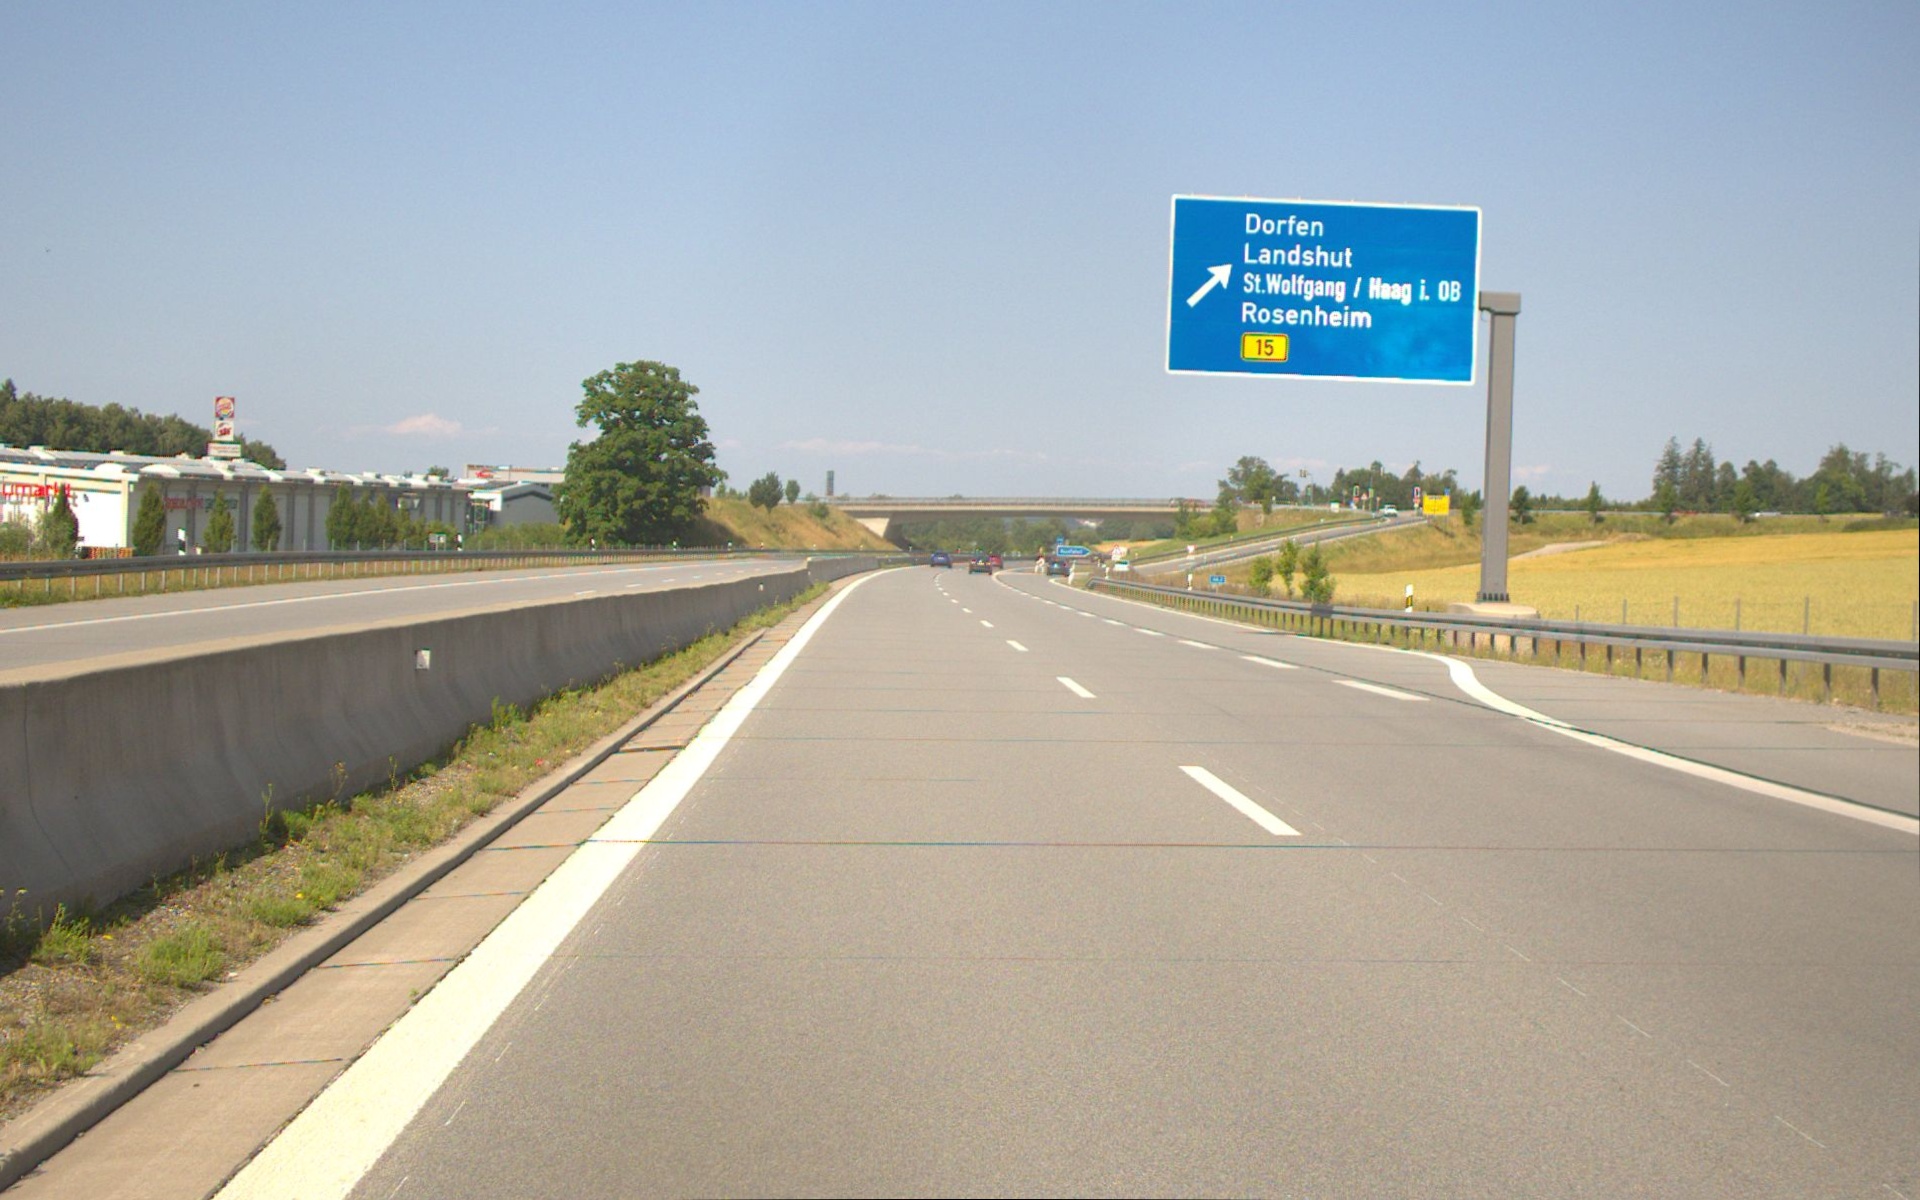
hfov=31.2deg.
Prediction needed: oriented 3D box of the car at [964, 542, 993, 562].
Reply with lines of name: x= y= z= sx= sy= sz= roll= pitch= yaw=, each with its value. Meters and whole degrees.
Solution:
car: x=1.403 y=-3.652 z=260.068 sx=1.994 sy=1.415 sz=4.000 roll=1 pitch=1 yaw=3
